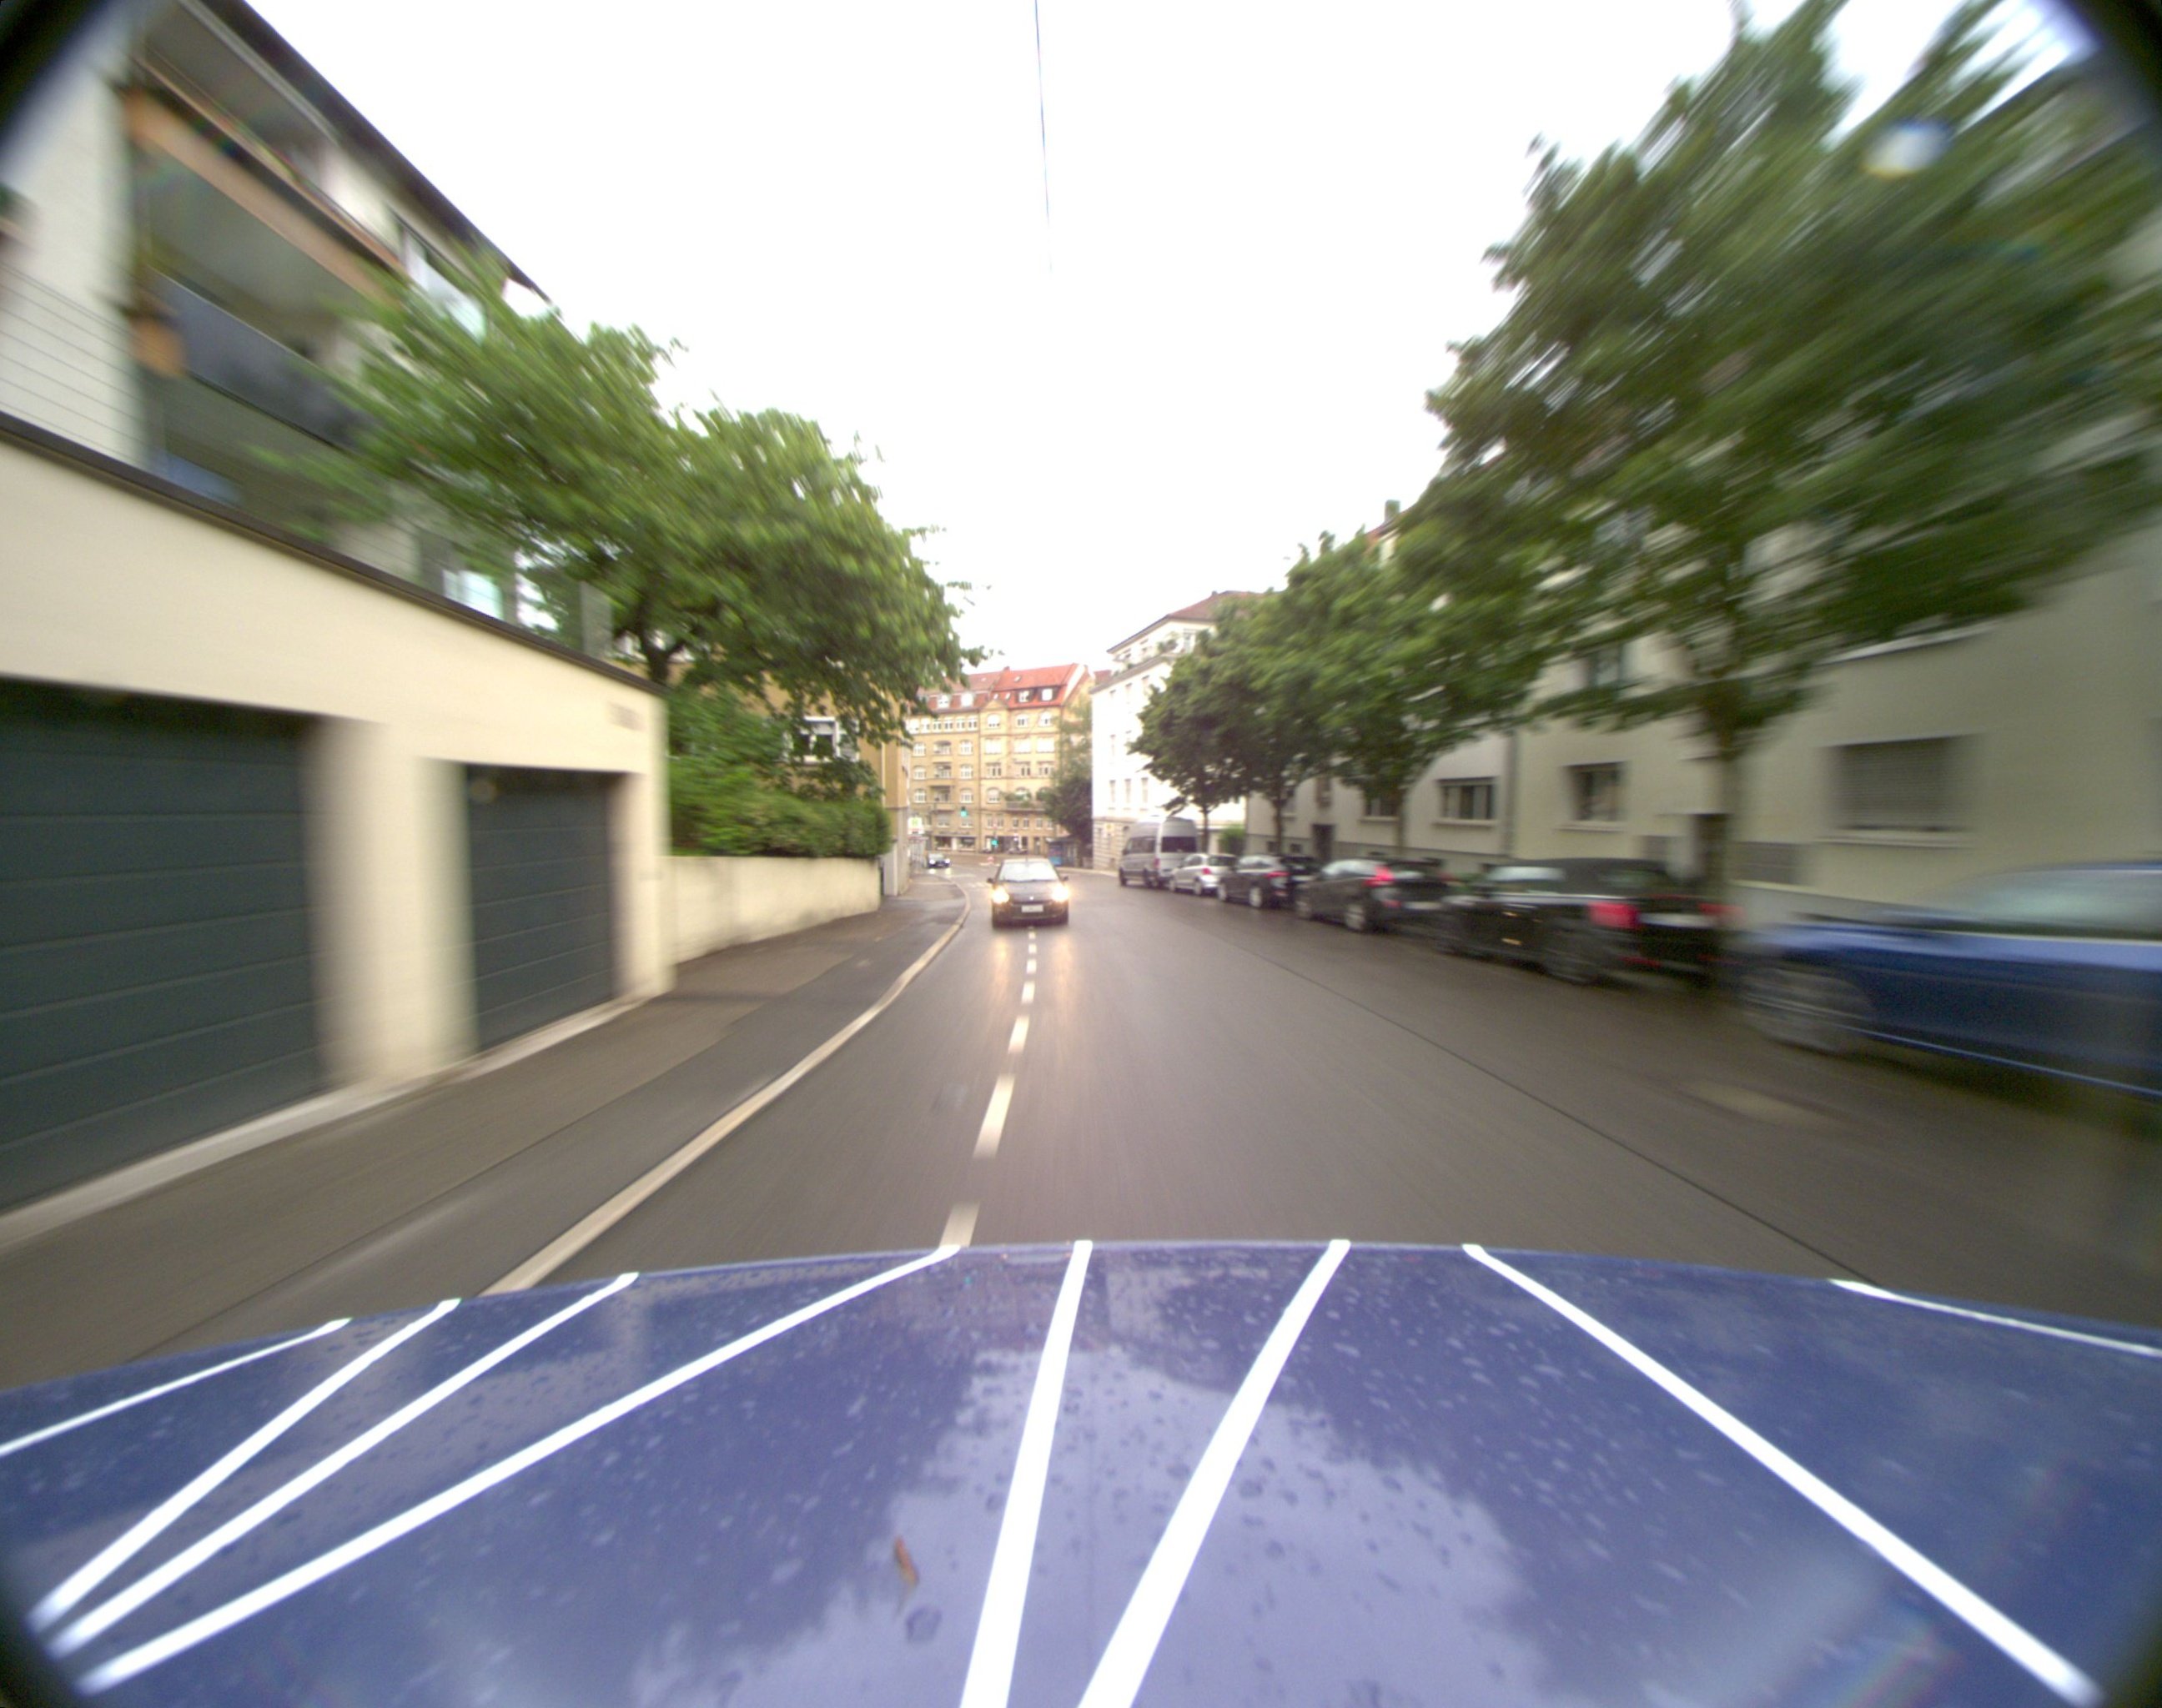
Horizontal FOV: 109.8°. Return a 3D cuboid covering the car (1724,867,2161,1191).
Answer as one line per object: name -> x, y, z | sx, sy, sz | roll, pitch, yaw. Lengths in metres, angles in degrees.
car -> 6.079, 0.870, 3.761 | 1.791, 1.484, 4.862 | 0, 0, 2

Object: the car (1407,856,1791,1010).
car -> 6.126, 0.794, 9.775 | 1.792, 1.484, 4.359 | 0, 0, -3

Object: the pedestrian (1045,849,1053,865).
pedestrian -> -3.321, 0.308, 79.124 | 0.651, 1.571, 0.805 | -1, 1, -8

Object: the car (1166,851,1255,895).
car -> 4.409, 0.607, 26.517 | 1.592, 1.401, 4.042 | 0, 0, -14

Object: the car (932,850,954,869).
car -> -13.163, 0.488, 72.302 | 1.898, 1.686, 3.995 | -3, 1, -11

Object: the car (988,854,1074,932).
car -> -1.284, 0.814, 17.901 | 1.699, 1.456, 3.997 | -4, 1, -7

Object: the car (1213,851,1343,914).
car -> 5.131, 0.683, 20.473 | 1.793, 1.484, 4.495 | 1, 0, -8

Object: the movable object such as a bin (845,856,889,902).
movable object such as a bin -> -7.111, 0.825, 25.286 | 1.255, 1.447, 0.825 | -3, 1, -10

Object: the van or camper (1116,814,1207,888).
van or camper -> 3.265, -0.103, 32.226 | 2.074, 2.843, 5.740 | 0, 0, -13

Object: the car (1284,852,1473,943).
car -> 5.730, 0.732, 15.347 | 1.792, 1.484, 4.642 | -1, 1, -3
